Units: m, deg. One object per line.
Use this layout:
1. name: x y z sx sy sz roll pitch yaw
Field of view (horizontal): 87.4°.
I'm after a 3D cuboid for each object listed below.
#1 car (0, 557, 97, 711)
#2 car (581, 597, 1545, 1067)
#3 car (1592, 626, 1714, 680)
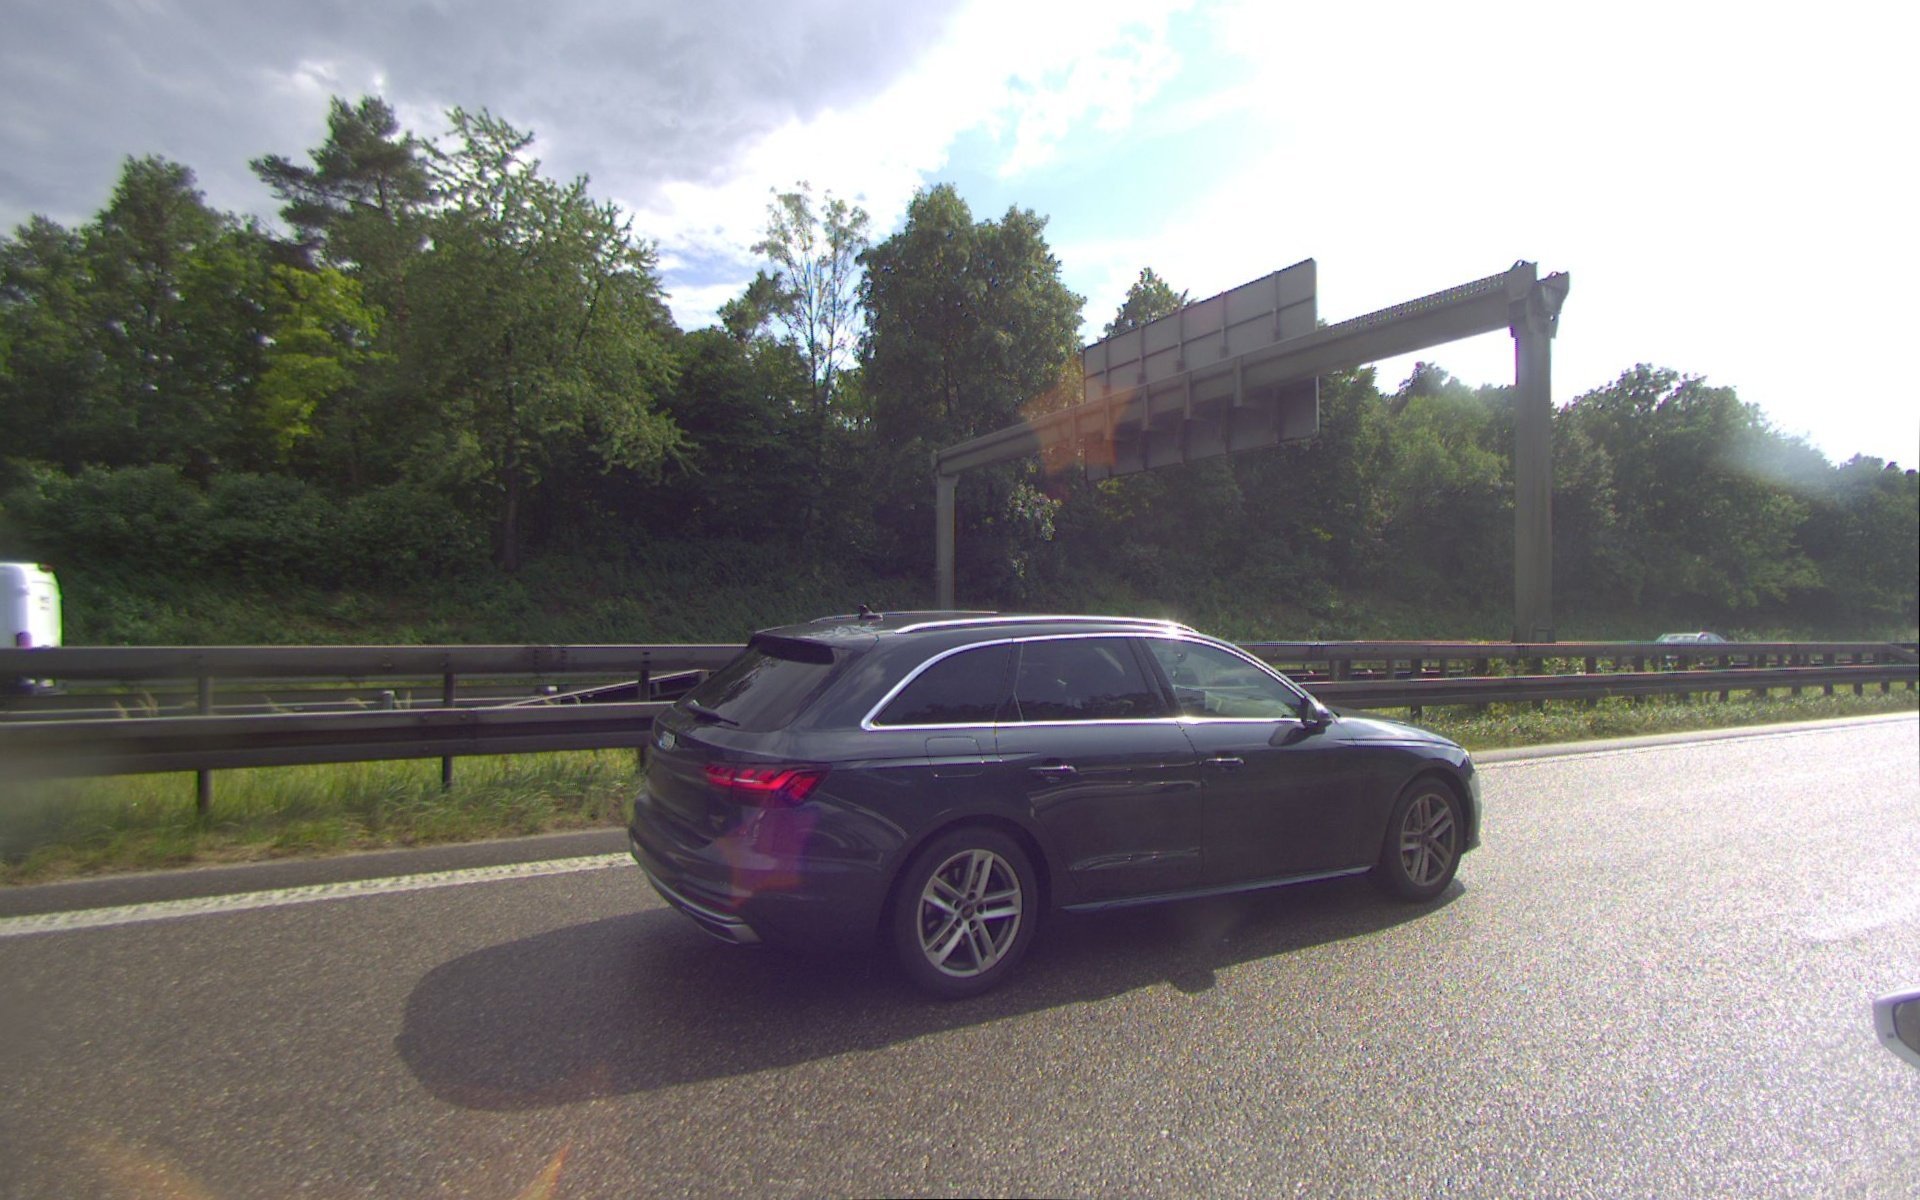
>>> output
1. car: -16.727 0.438 14.649 5.910 2.279 2.134 2 0 -30
2. car: 0.750 0.773 5.124 4.784 1.437 1.785 2 0 -31
3. car: 23.907 1.784 34.633 3.953 1.697 1.984 2 0 -30
